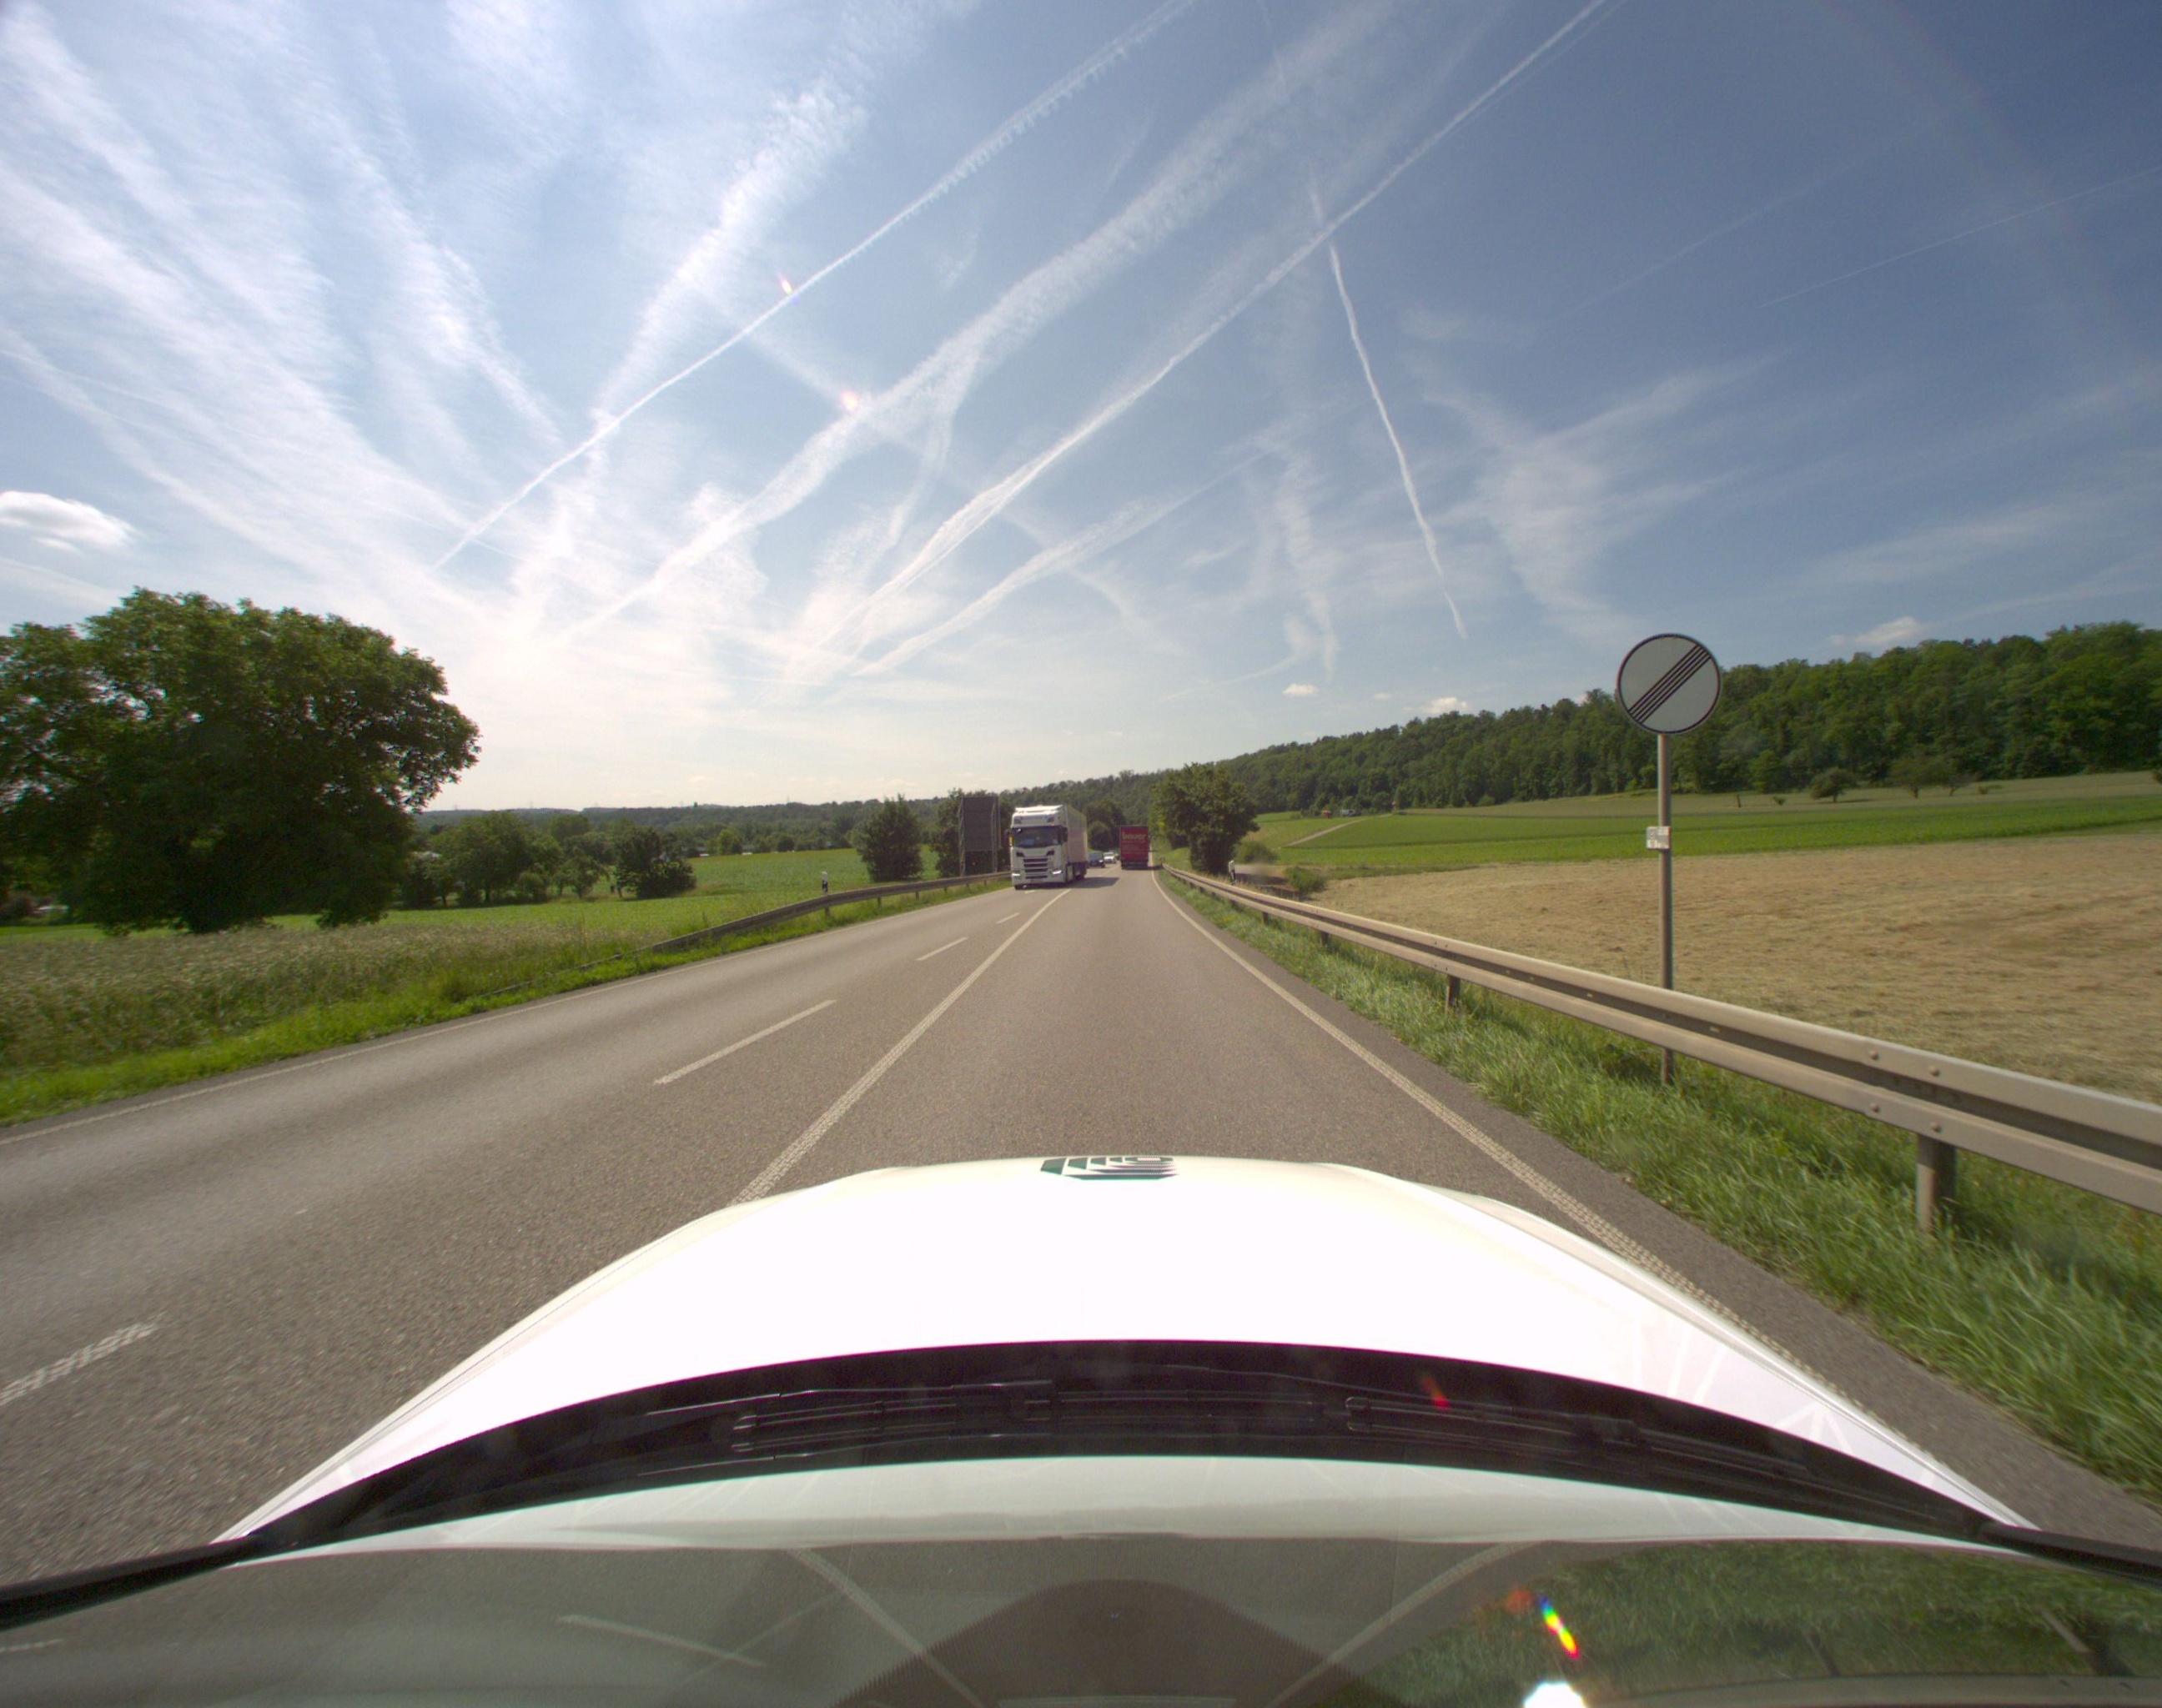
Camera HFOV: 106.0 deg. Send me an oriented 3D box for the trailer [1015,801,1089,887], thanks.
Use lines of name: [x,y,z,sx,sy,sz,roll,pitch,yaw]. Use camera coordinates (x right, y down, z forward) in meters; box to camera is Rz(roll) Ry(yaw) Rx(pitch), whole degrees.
trailer: [-1.341,-0.484,46.883,2.496,4.119,13.915,-3,0,4]

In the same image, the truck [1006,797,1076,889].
truck: [-1.874,-0.505,40.455,2.518,4.119,6.028,-3,0,4]

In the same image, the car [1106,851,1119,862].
car: [5.081,0.387,129.993,1.904,1.474,3.879,-2,0,5]

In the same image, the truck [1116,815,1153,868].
truck: [5.217,-1.153,78.762,3.158,4.625,13.559,-1,0,4]

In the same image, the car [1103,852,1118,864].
car: [3.857,0.538,105.804,1.723,1.434,3.921,-4,0,5]

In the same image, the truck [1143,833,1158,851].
truck: [18.395,-3.096,216.201,3.888,4.369,13.306,1,0,4]

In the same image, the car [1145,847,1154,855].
car: [15.572,-0.712,185.126,1.985,1.810,4.003,2,0,3]

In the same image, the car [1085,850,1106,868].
car: [1.499,0.533,83.860,1.821,1.722,4.368,-3,0,4]
